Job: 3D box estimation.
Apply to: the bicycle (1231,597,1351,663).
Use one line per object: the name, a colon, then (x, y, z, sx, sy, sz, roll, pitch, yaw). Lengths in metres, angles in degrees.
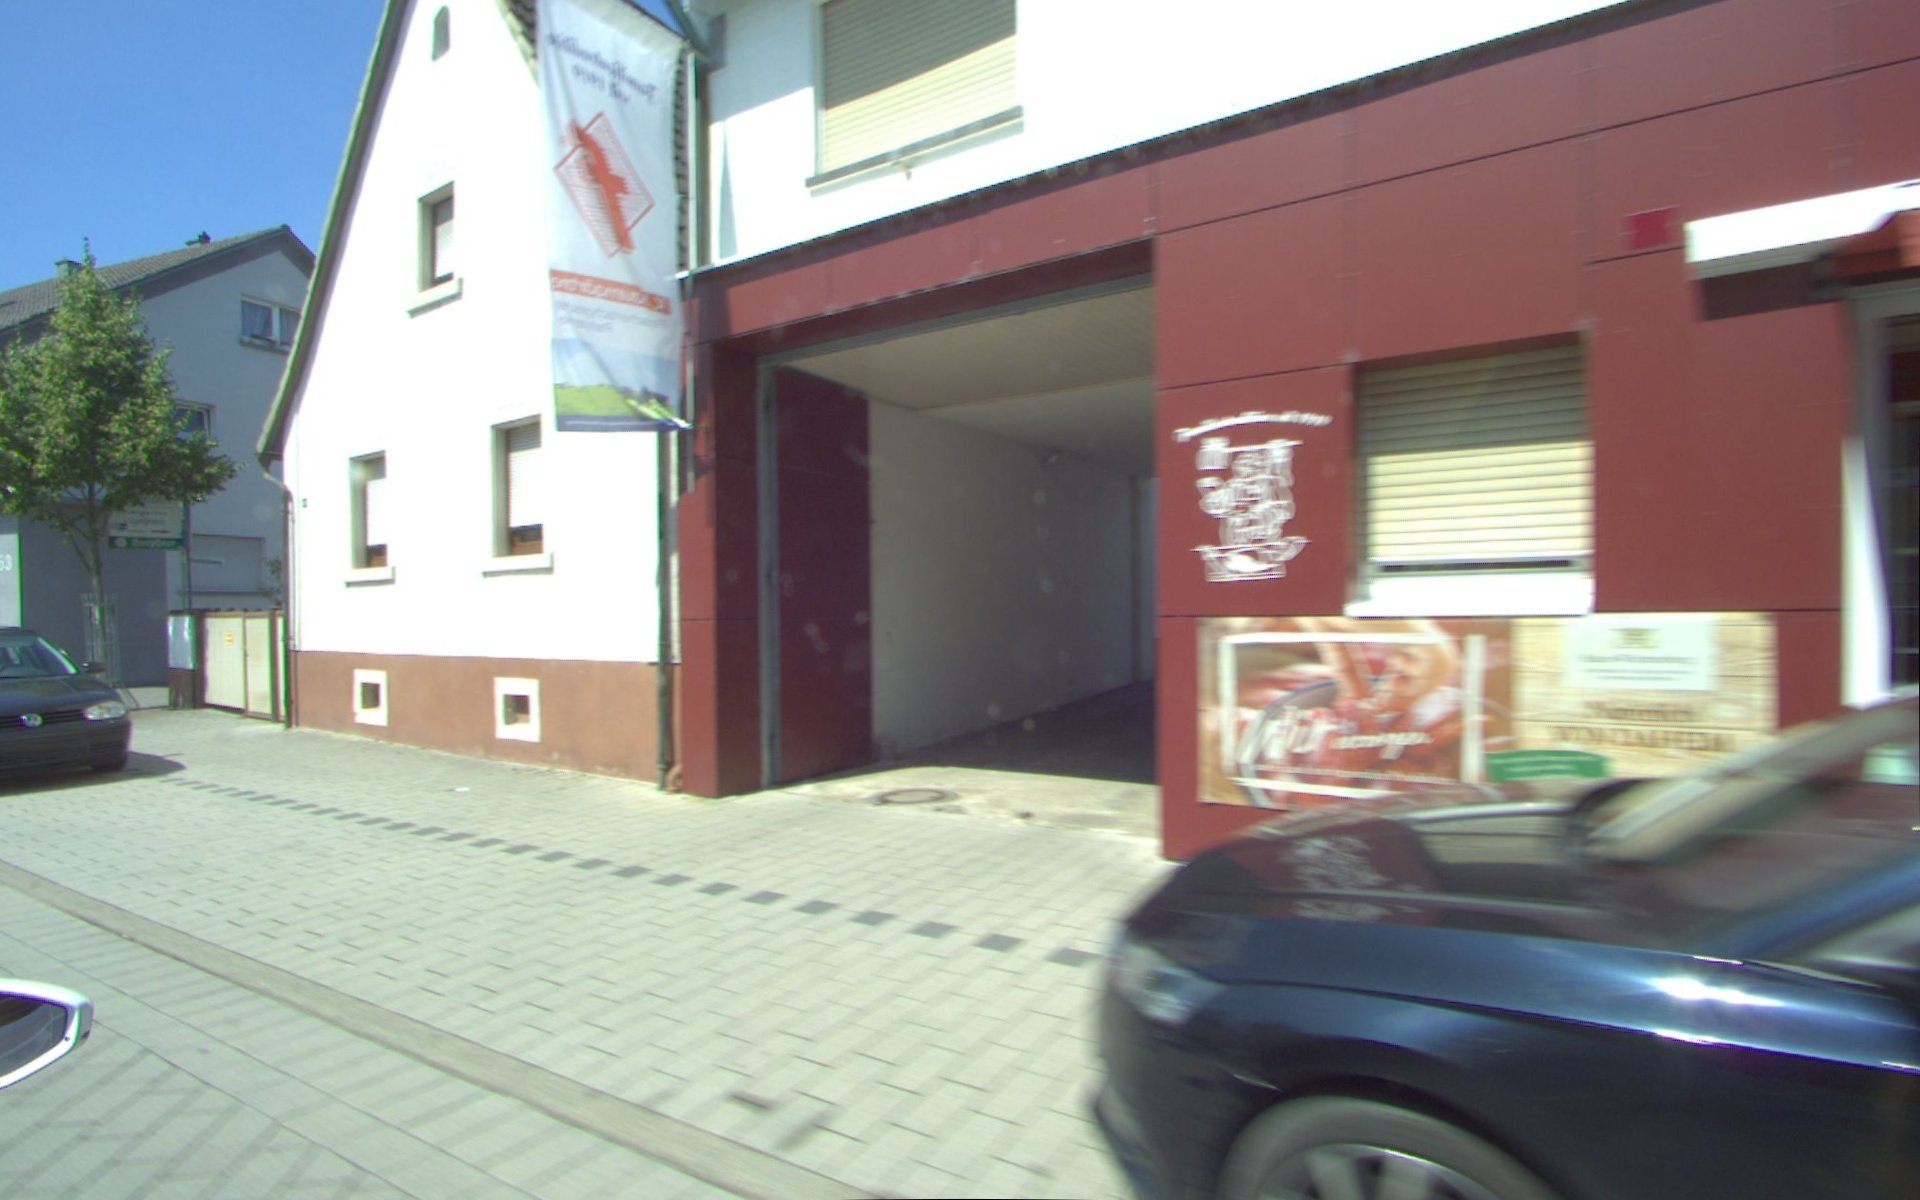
bicycle: (6.447, 0.577, 19.535, 2.136, 1.222, 0.654, -1, 1, 31)

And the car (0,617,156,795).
car: (-9.626, 0.917, 9.662, 4.062, 1.458, 1.754, -1, 1, 34)

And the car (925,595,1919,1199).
car: (2.297, 0.750, 1.678, 4.526, 1.479, 1.851, -1, 2, 36)
